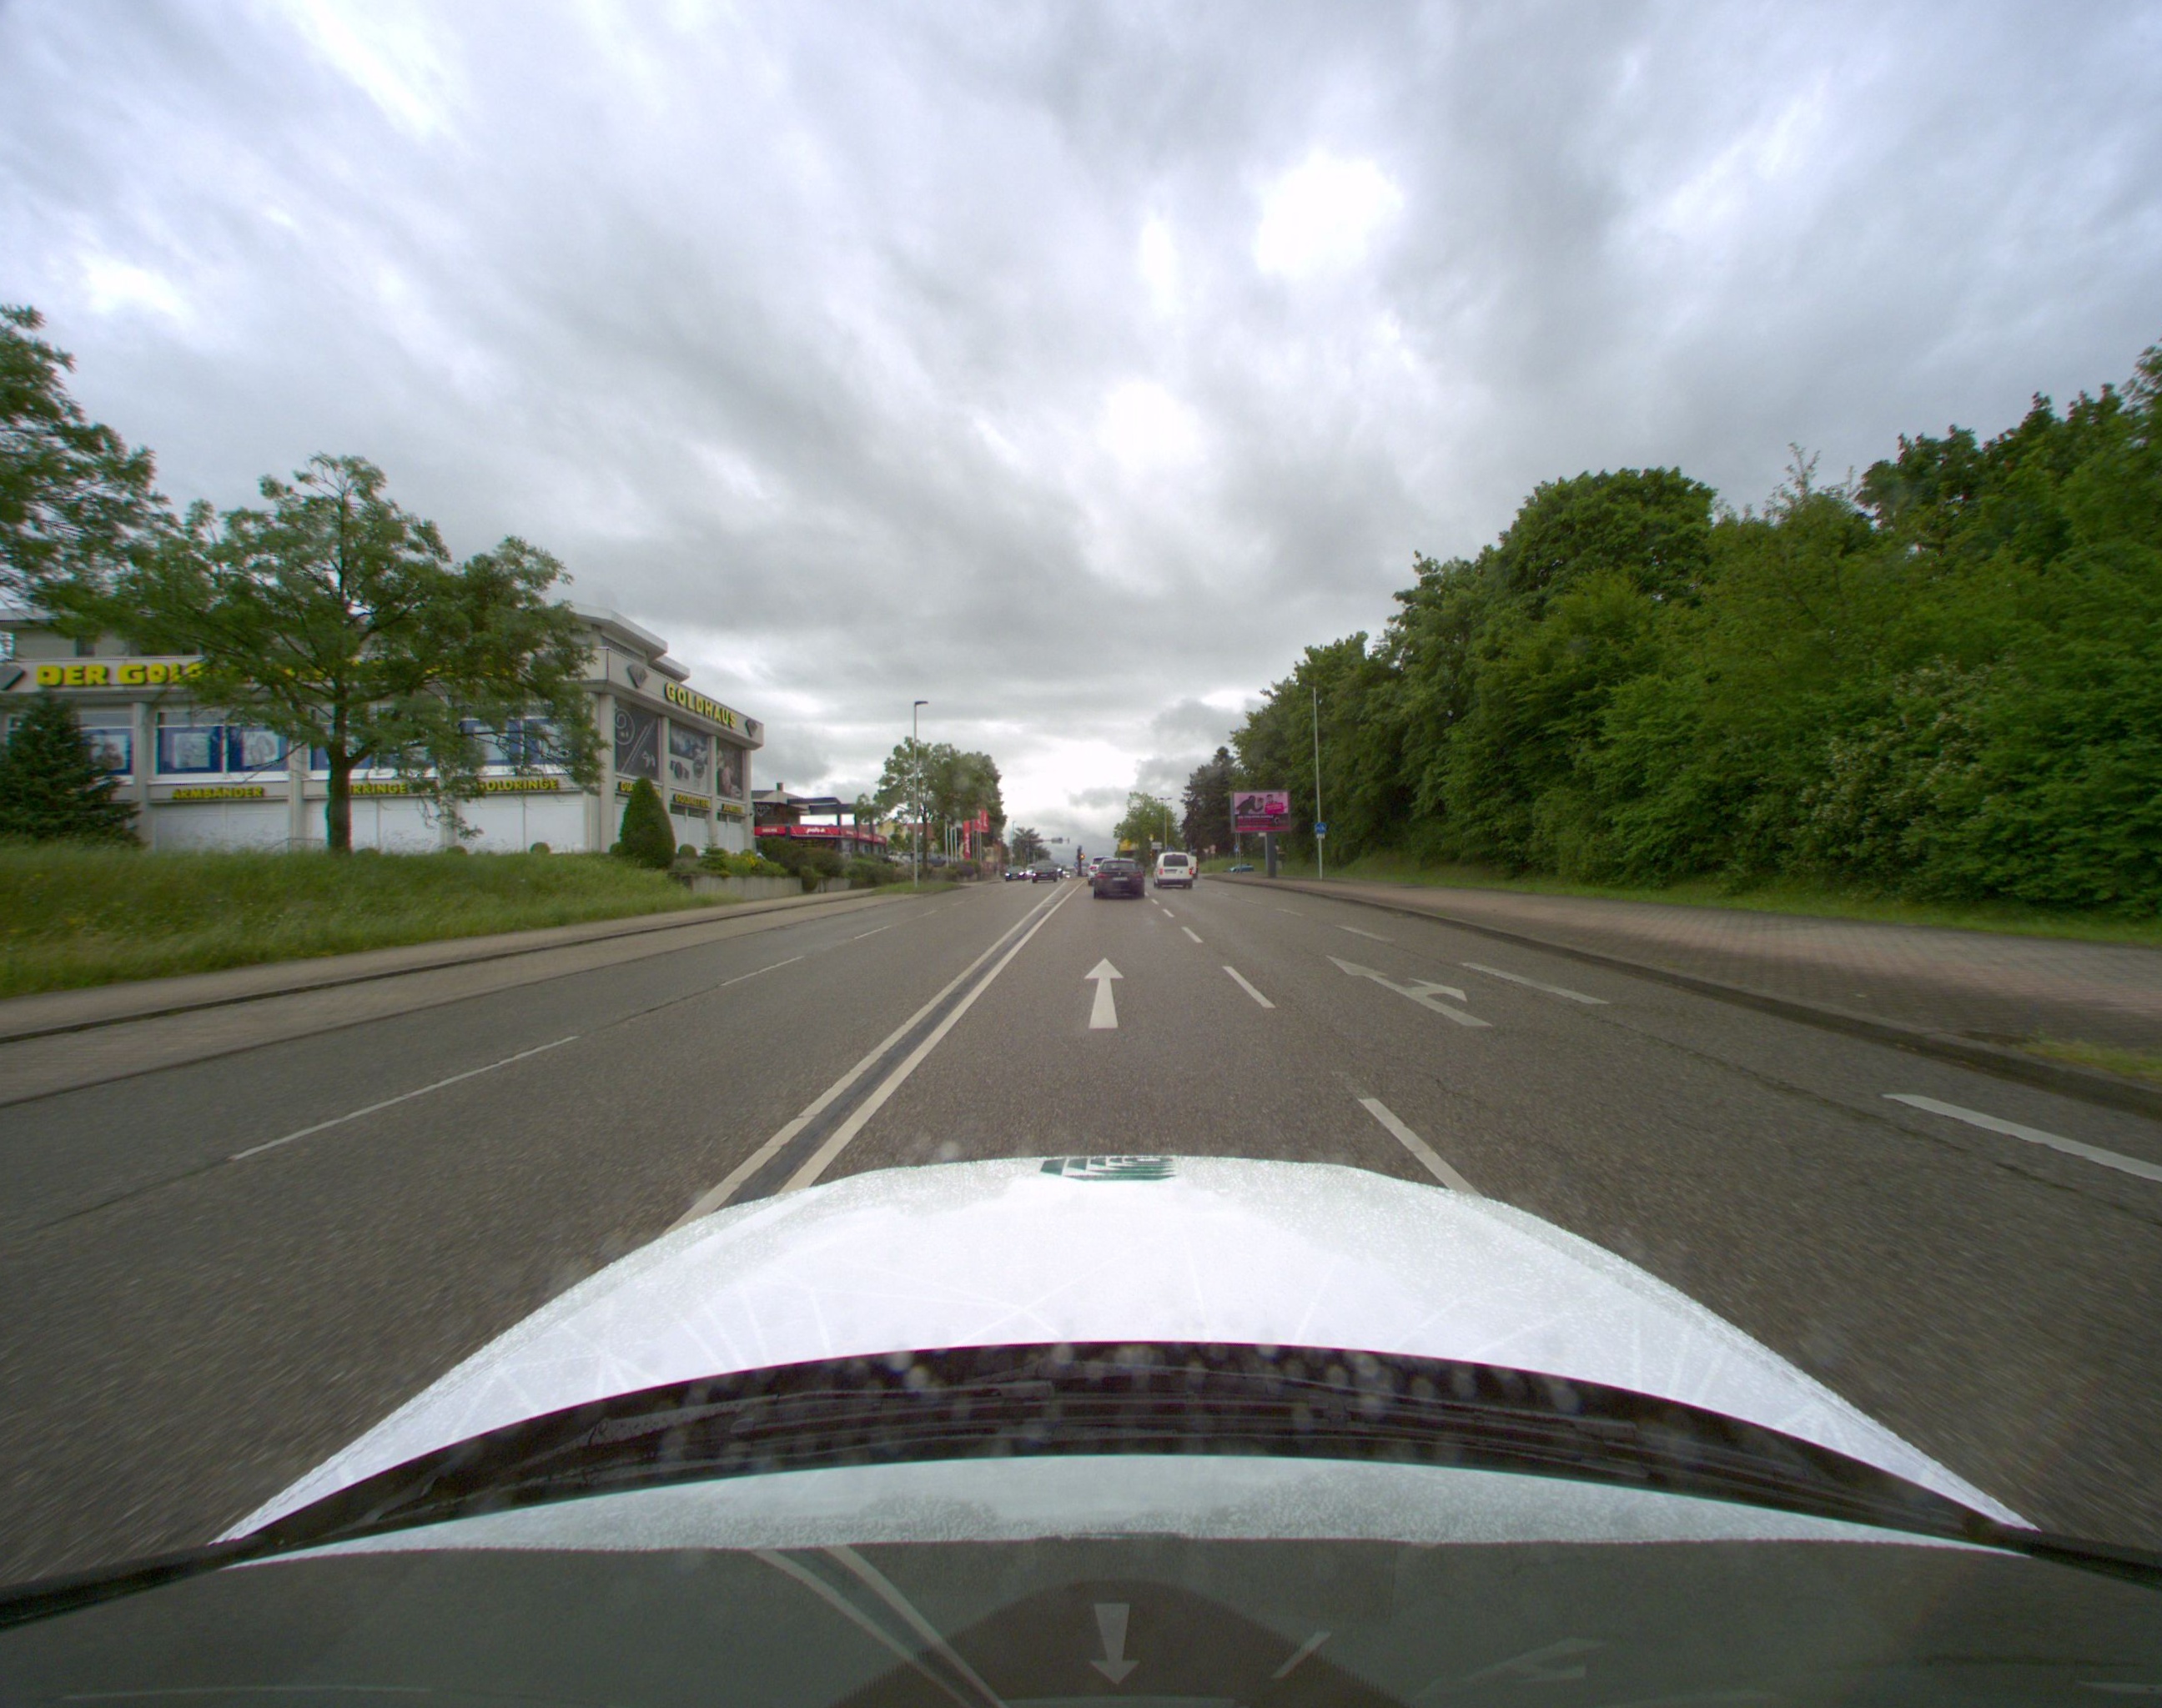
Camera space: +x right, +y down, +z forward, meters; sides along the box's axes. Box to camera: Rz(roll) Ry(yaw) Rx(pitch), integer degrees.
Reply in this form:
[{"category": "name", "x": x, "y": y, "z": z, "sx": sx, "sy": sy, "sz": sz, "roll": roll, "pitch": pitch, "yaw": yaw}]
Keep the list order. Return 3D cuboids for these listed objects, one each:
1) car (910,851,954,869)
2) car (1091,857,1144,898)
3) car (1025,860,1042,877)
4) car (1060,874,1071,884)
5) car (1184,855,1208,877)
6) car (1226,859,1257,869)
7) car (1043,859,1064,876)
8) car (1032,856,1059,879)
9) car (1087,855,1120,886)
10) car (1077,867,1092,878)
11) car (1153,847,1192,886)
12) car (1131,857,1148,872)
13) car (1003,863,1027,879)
[{"category": "car", "x": -13.675, "y": 0.575, "z": 74.747, "sx": 3.821, "sy": 1.482, "sz": 1.738, "roll": -2, "pitch": -1, "yaw": -6}, {"category": "car", "x": 1.416, "y": 0.830, "z": 30.401, "sx": 1.847, "sy": 1.419, "sz": 3.961, "roll": 0, "pitch": 0, "yaw": 4}, {"category": "car", "x": -5.902, "y": 1.824, "z": 102.273, "sx": 1.791, "sy": 1.983, "sz": 4.895, "roll": -3, "pitch": -1, "yaw": -1}, {"category": "car", "x": -3.113, "y": 4.992, "z": 164.018, "sx": 1.852, "sy": 1.823, "sz": 4.578, "roll": -3, "pitch": -2, "yaw": 0}, {"category": "car", "x": 9.338, "y": 0.936, "z": 66.172, "sx": 1.804, "sy": 1.708, "sz": 3.954, "roll": -2, "pitch": 0, "yaw": 7}, {"category": "car", "x": 23.222, "y": 1.486, "z": 117.726, "sx": 3.997, "sy": 1.294, "sz": 1.599, "roll": -3, "pitch": 0, "yaw": -17}, {"category": "car", "x": -2.739, "y": 1.331, "z": 81.299, "sx": 1.816, "sy": 1.607, "sz": 4.284, "roll": -3, "pitch": -1, "yaw": 1}, {"category": "car", "x": -2.633, "y": 1.016, "z": 61.202, "sx": 1.789, "sy": 1.584, "sz": 4.198, "roll": -3, "pitch": 0, "yaw": 0}, {"category": "car", "x": 1.334, "y": 0.903, "z": 46.847, "sx": 1.720, "sy": 1.711, "sz": 3.387, "roll": -1, "pitch": 0, "yaw": 5}, {"category": "car", "x": 0.441, "y": 2.536, "z": 111.666, "sx": 1.890, "sy": 1.456, "sz": 4.093, "roll": -2, "pitch": -2, "yaw": -2}, {"category": "car", "x": 4.630, "y": 0.629, "z": 41.657, "sx": 1.734, "sy": 1.869, "sz": 3.949, "roll": 0, "pitch": 0, "yaw": 3}, {"category": "car", "x": 6.026, "y": 1.092, "z": 83.643, "sx": 1.594, "sy": 1.372, "sz": 3.683, "roll": -2, "pitch": 0, "yaw": 3}, {"category": "car", "x": -6.311, "y": 1.579, "z": 78.532, "sx": 1.786, "sy": 1.401, "sz": 4.302, "roll": -3, "pitch": -1, "yaw": 2}]
